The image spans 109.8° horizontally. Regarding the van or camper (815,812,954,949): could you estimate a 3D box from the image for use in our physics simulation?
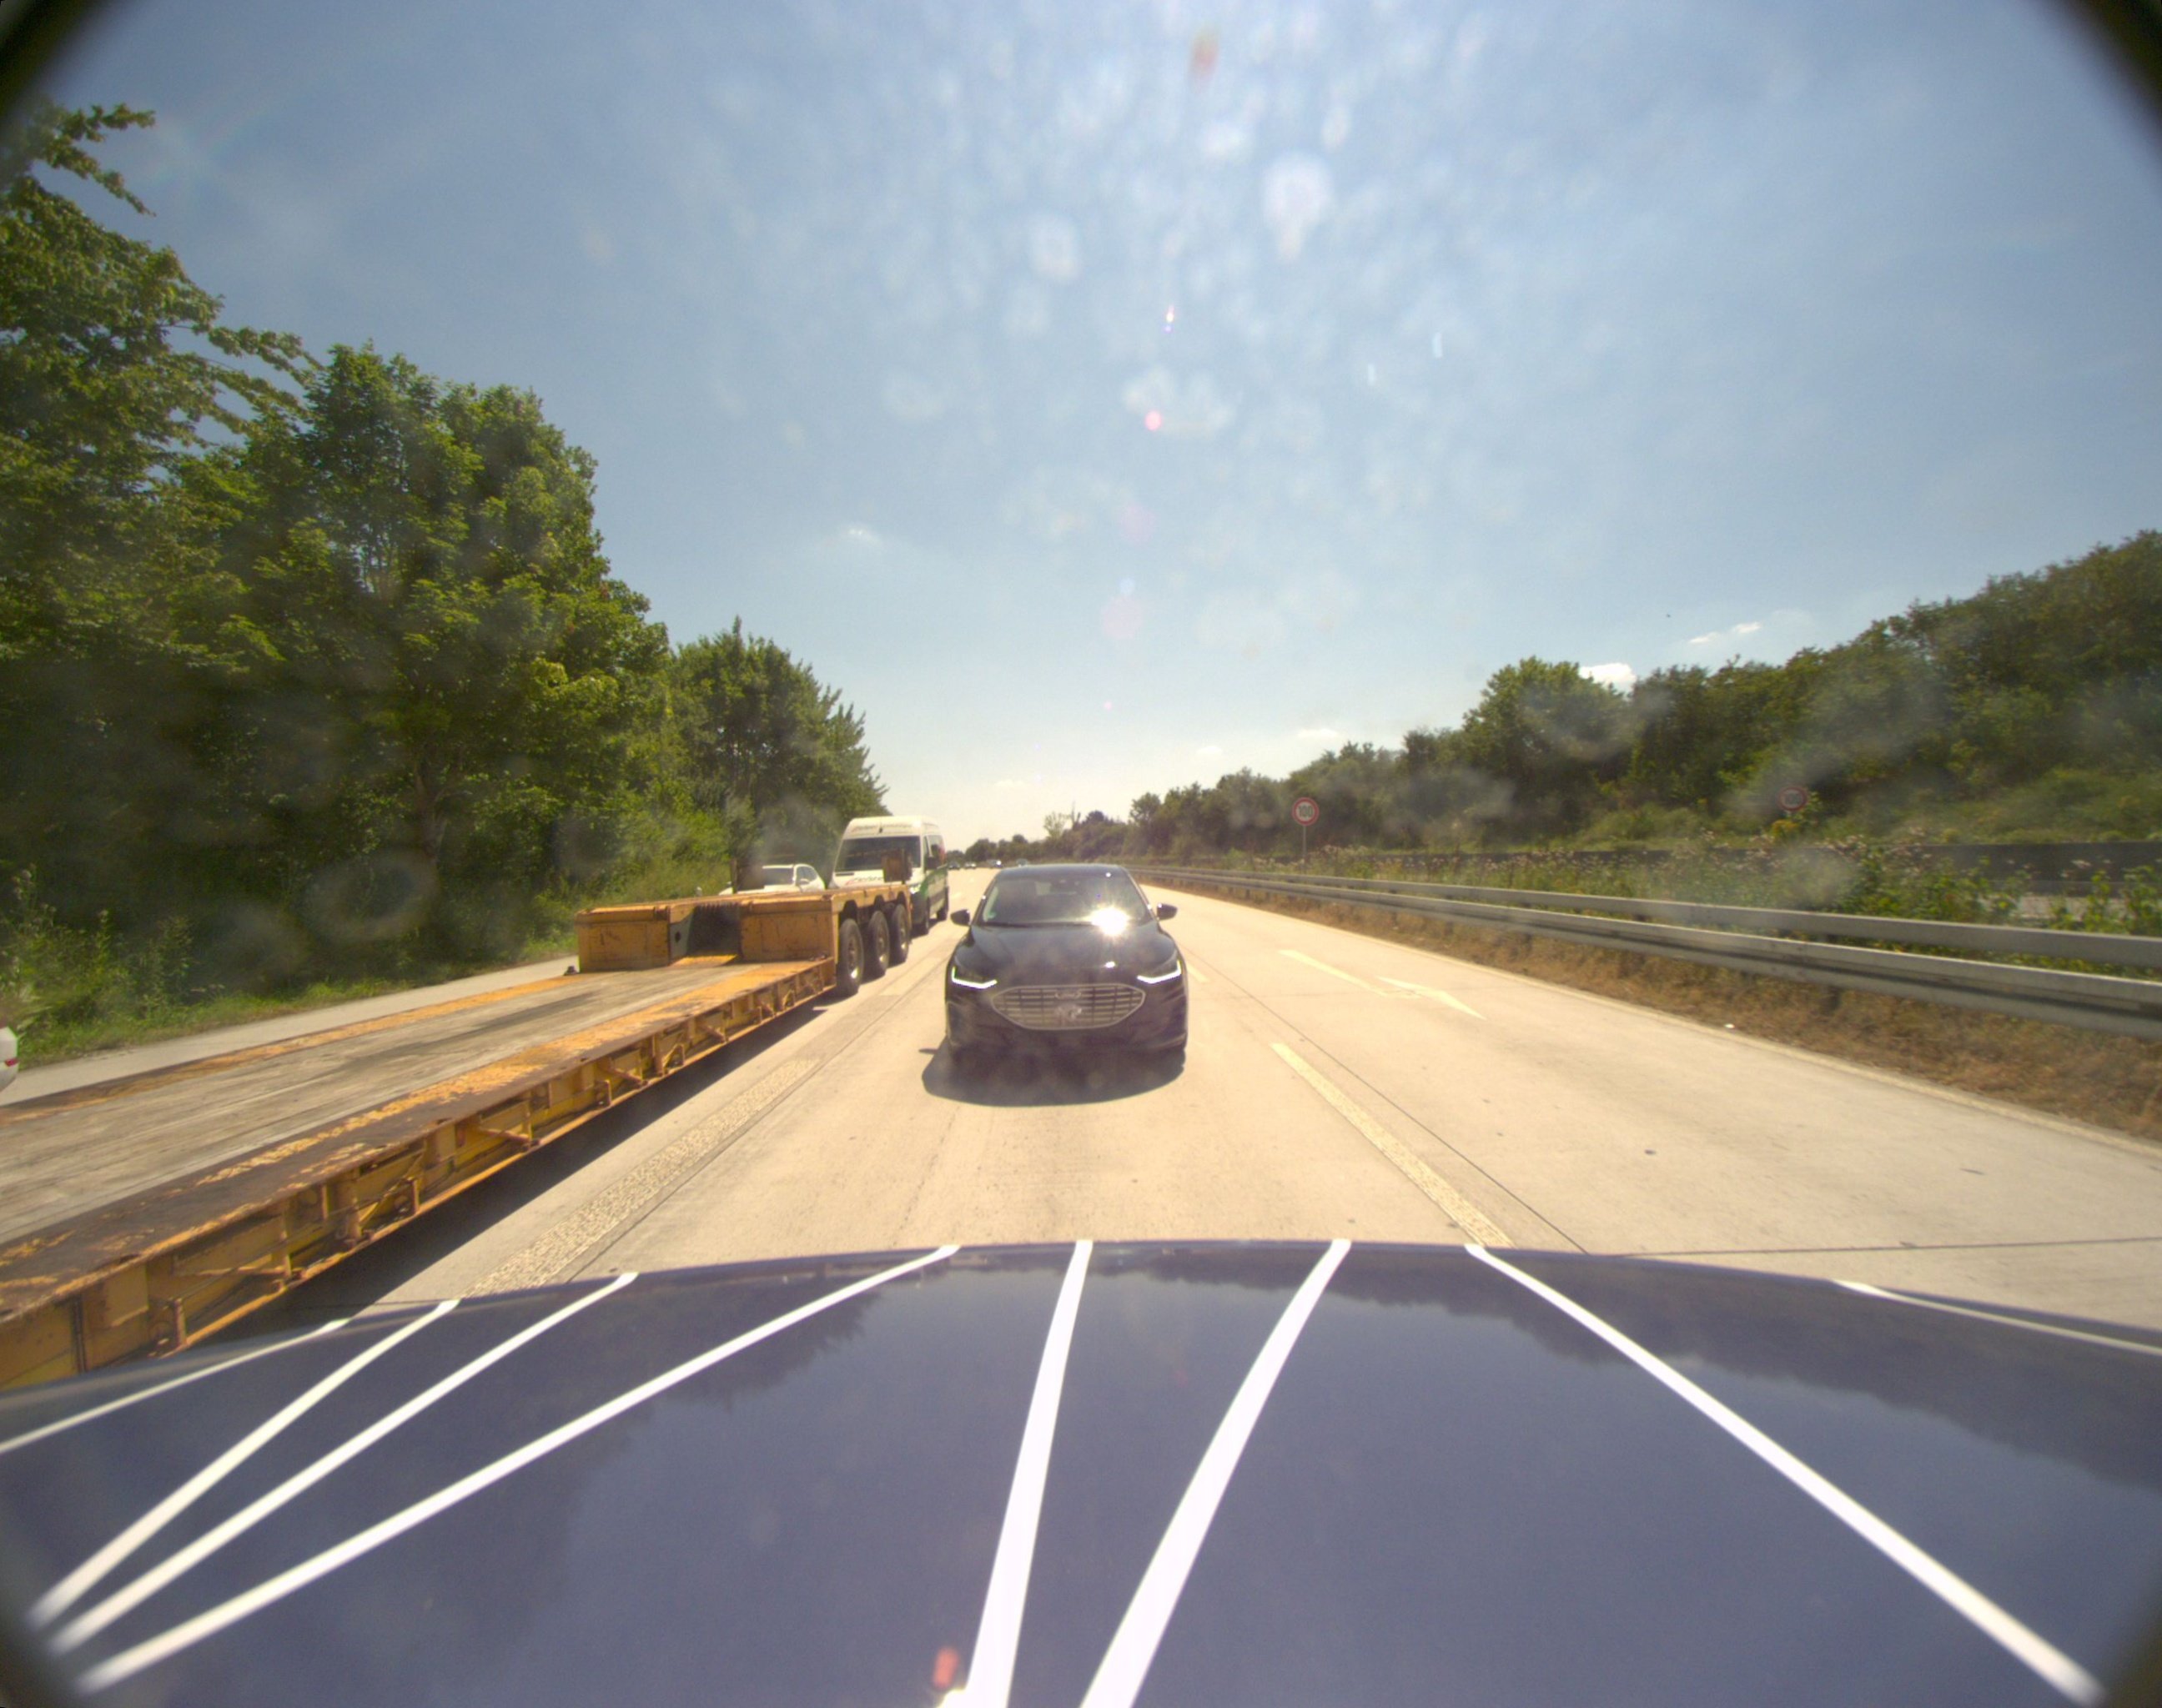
[{"bbox_3d":[-4.293,0.482,17.680,2.069,2.559,5.904,-2,1,-5],"label":"van or camper"}]

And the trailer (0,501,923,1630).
[{"bbox_3d":[-4.019,0.515,3.891,3.035,2.578,16.355,-2,0,0],"label":"trailer"}]

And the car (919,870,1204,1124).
[{"bbox_3d":[-0.094,0.940,6.905,1.731,1.430,4.304,-2,0,1],"label":"car"}]

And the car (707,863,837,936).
[{"bbox_3d":[-7.900,1.077,19.888,1.772,1.552,4.366,-2,1,-3],"label":"car"}]

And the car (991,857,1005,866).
[{"bbox_3d":[-14.375,1.210,131.827,1.708,1.456,3.994,-2,1,-15],"label":"car"}]

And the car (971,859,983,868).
[{"bbox_3d":[-19.153,1.772,139.763,1.893,1.456,3.995,-2,1,-14],"label":"car"}]

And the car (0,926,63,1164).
[{"bbox_3d":[-7.565,1.247,2.666,1.772,1.454,4.597,-2,1,-1],"label":"car"}]

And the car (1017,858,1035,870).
[{"bbox_3d":[-7.251,1.295,99.535,1.629,1.476,3.995,-2,1,-13],"label":"car"}]
